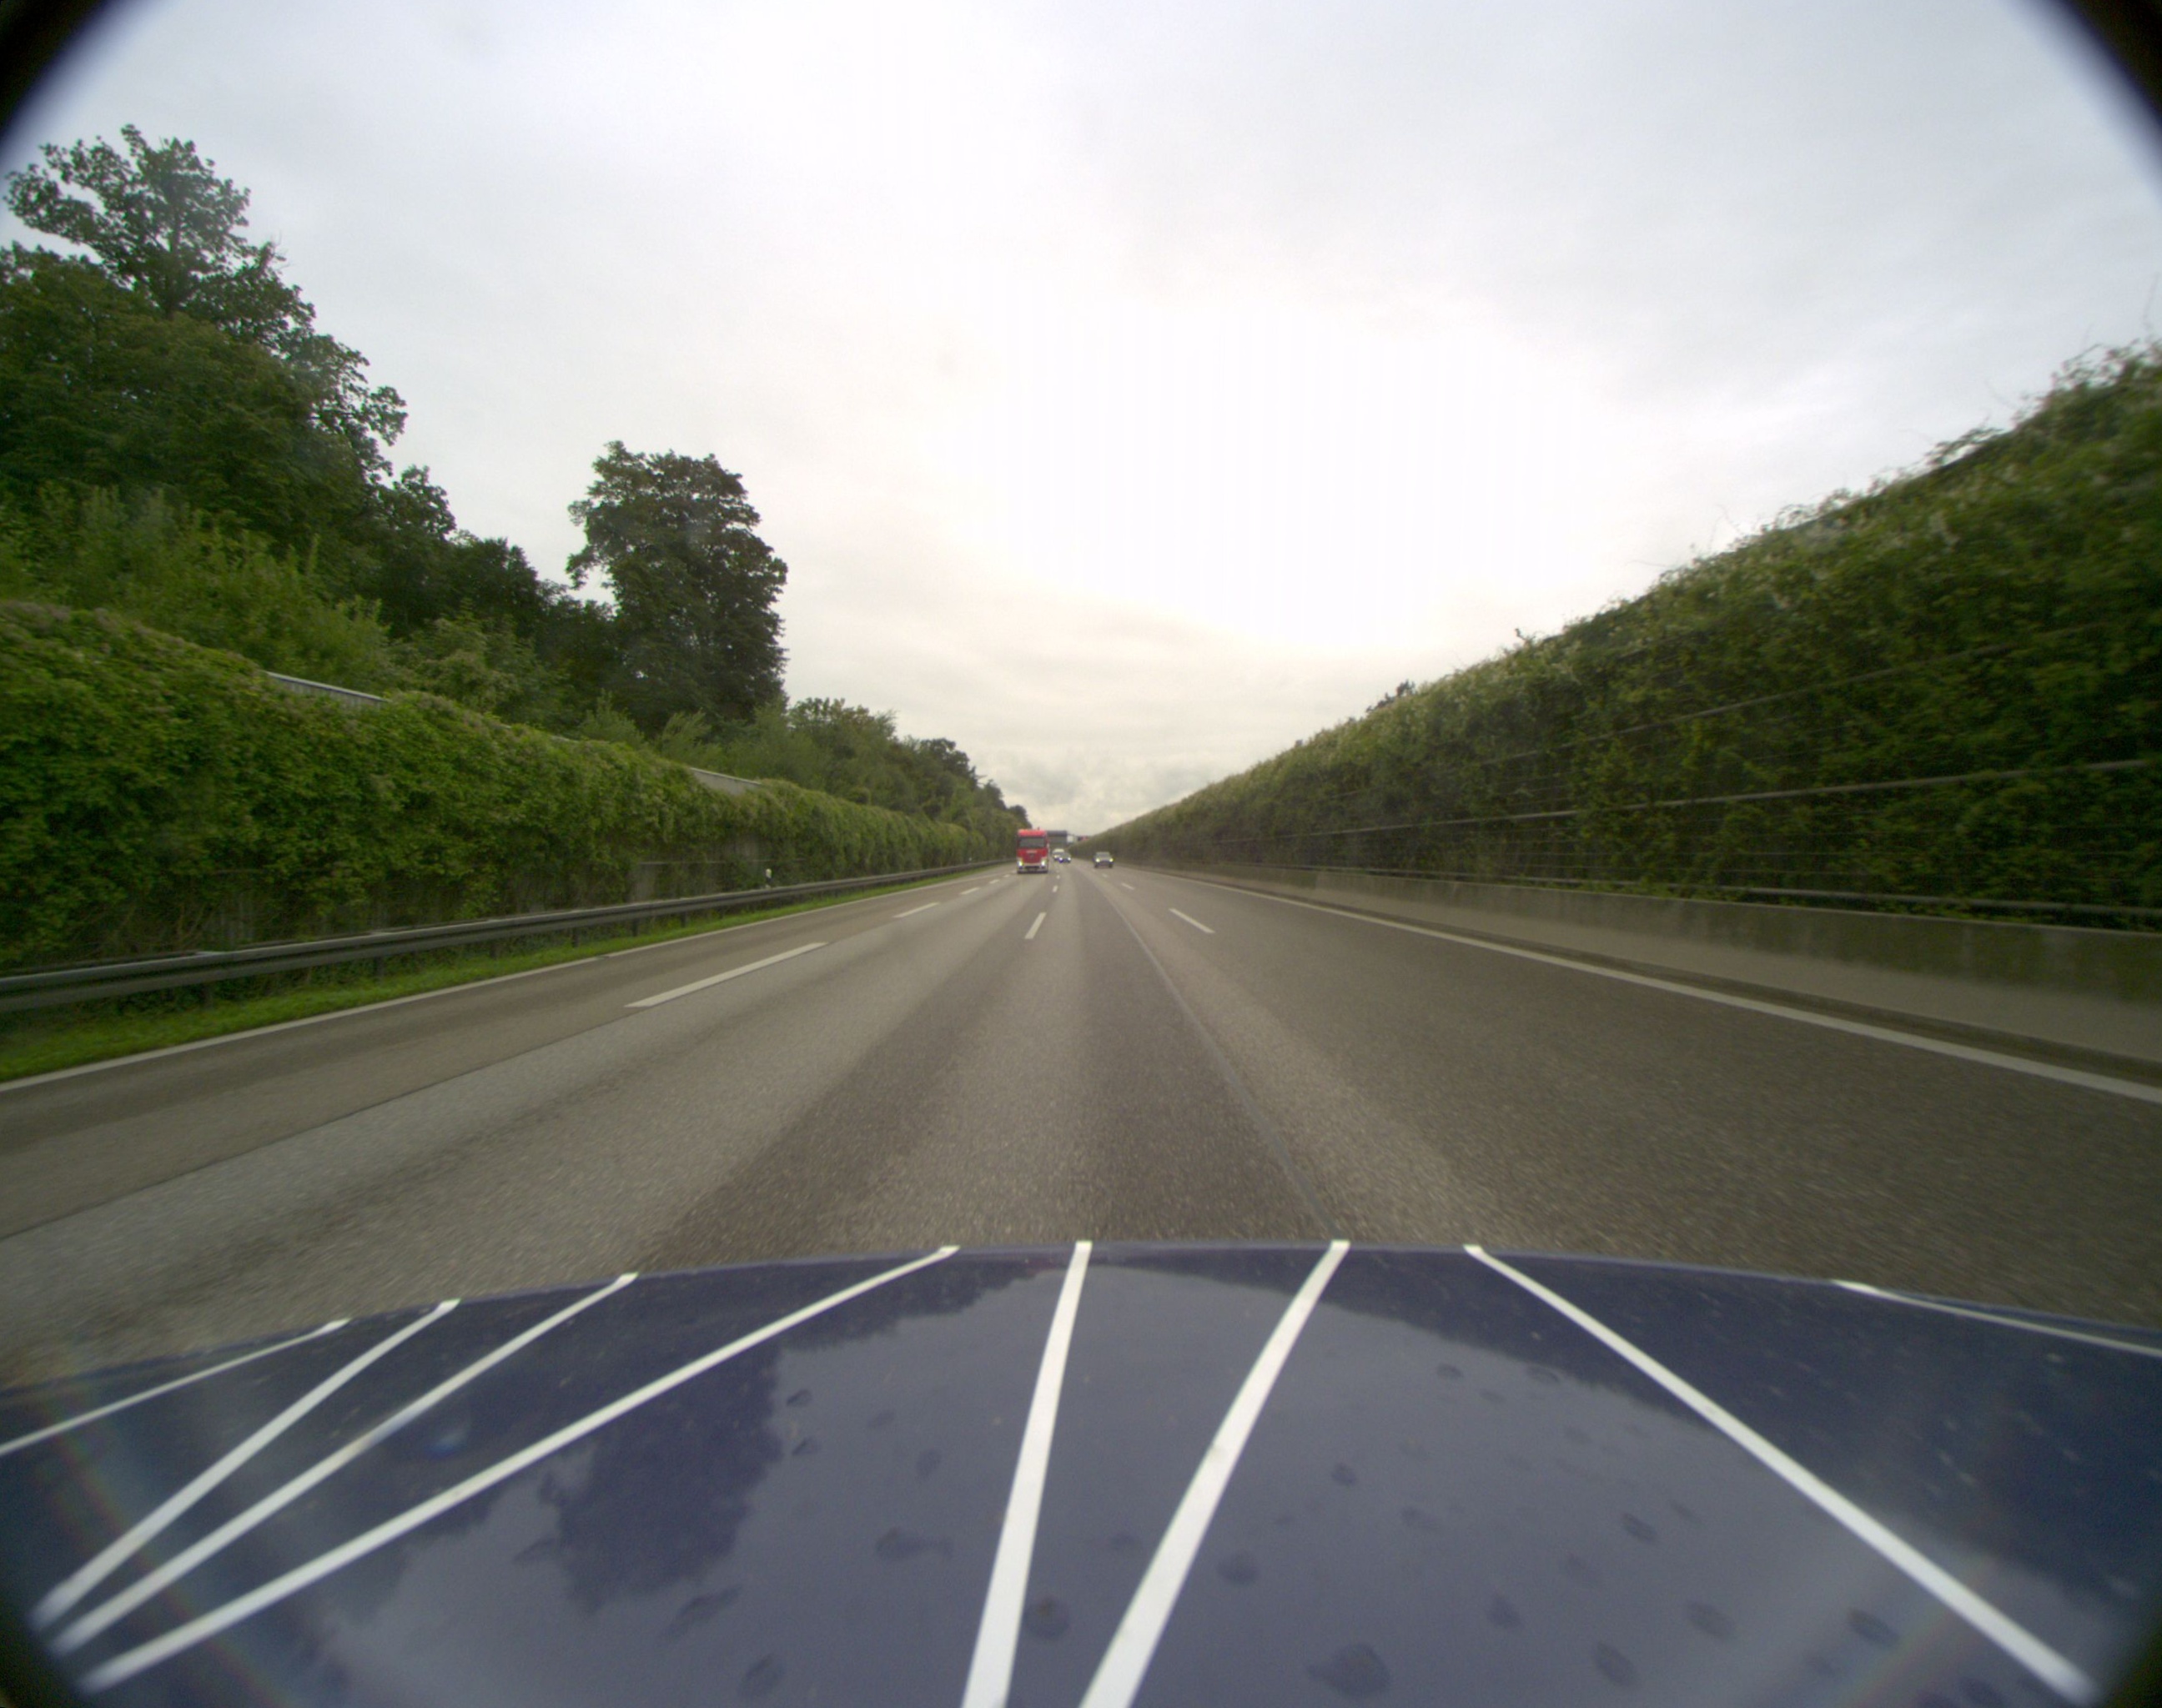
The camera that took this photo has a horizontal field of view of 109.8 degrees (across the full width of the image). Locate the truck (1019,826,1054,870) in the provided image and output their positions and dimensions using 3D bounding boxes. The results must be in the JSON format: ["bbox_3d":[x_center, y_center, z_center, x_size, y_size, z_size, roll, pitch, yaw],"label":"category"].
[{"bbox_3d":[-3.893,-0.636,68.989,2.709,3.691,9.837,-1,2,-1],"label":"truck"}]

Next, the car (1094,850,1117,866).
[{"bbox_3d":[2.588,0.399,81.432,2.023,1.595,5.437,-3,1,-3],"label":"car"}]

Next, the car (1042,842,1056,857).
[{"bbox_3d":[-7.115,-0.972,168.205,3.040,3.278,6.731,-1,1,-2],"label":"car"}]

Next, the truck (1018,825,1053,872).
[{"bbox_3d":[-3.785,-0.483,64.144,2.709,3.809,4.197,-1,2,-1],"label":"truck"}]

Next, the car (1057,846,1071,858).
[{"bbox_3d":[-3.411,-0.487,152.704,2.769,2.227,6.544,-1,1,-2],"label":"car"}]

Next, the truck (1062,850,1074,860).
[{"bbox_3d":[-2.128,0.210,128.219,1.825,1.535,3.998,-1,2,1],"label":"truck"}]
